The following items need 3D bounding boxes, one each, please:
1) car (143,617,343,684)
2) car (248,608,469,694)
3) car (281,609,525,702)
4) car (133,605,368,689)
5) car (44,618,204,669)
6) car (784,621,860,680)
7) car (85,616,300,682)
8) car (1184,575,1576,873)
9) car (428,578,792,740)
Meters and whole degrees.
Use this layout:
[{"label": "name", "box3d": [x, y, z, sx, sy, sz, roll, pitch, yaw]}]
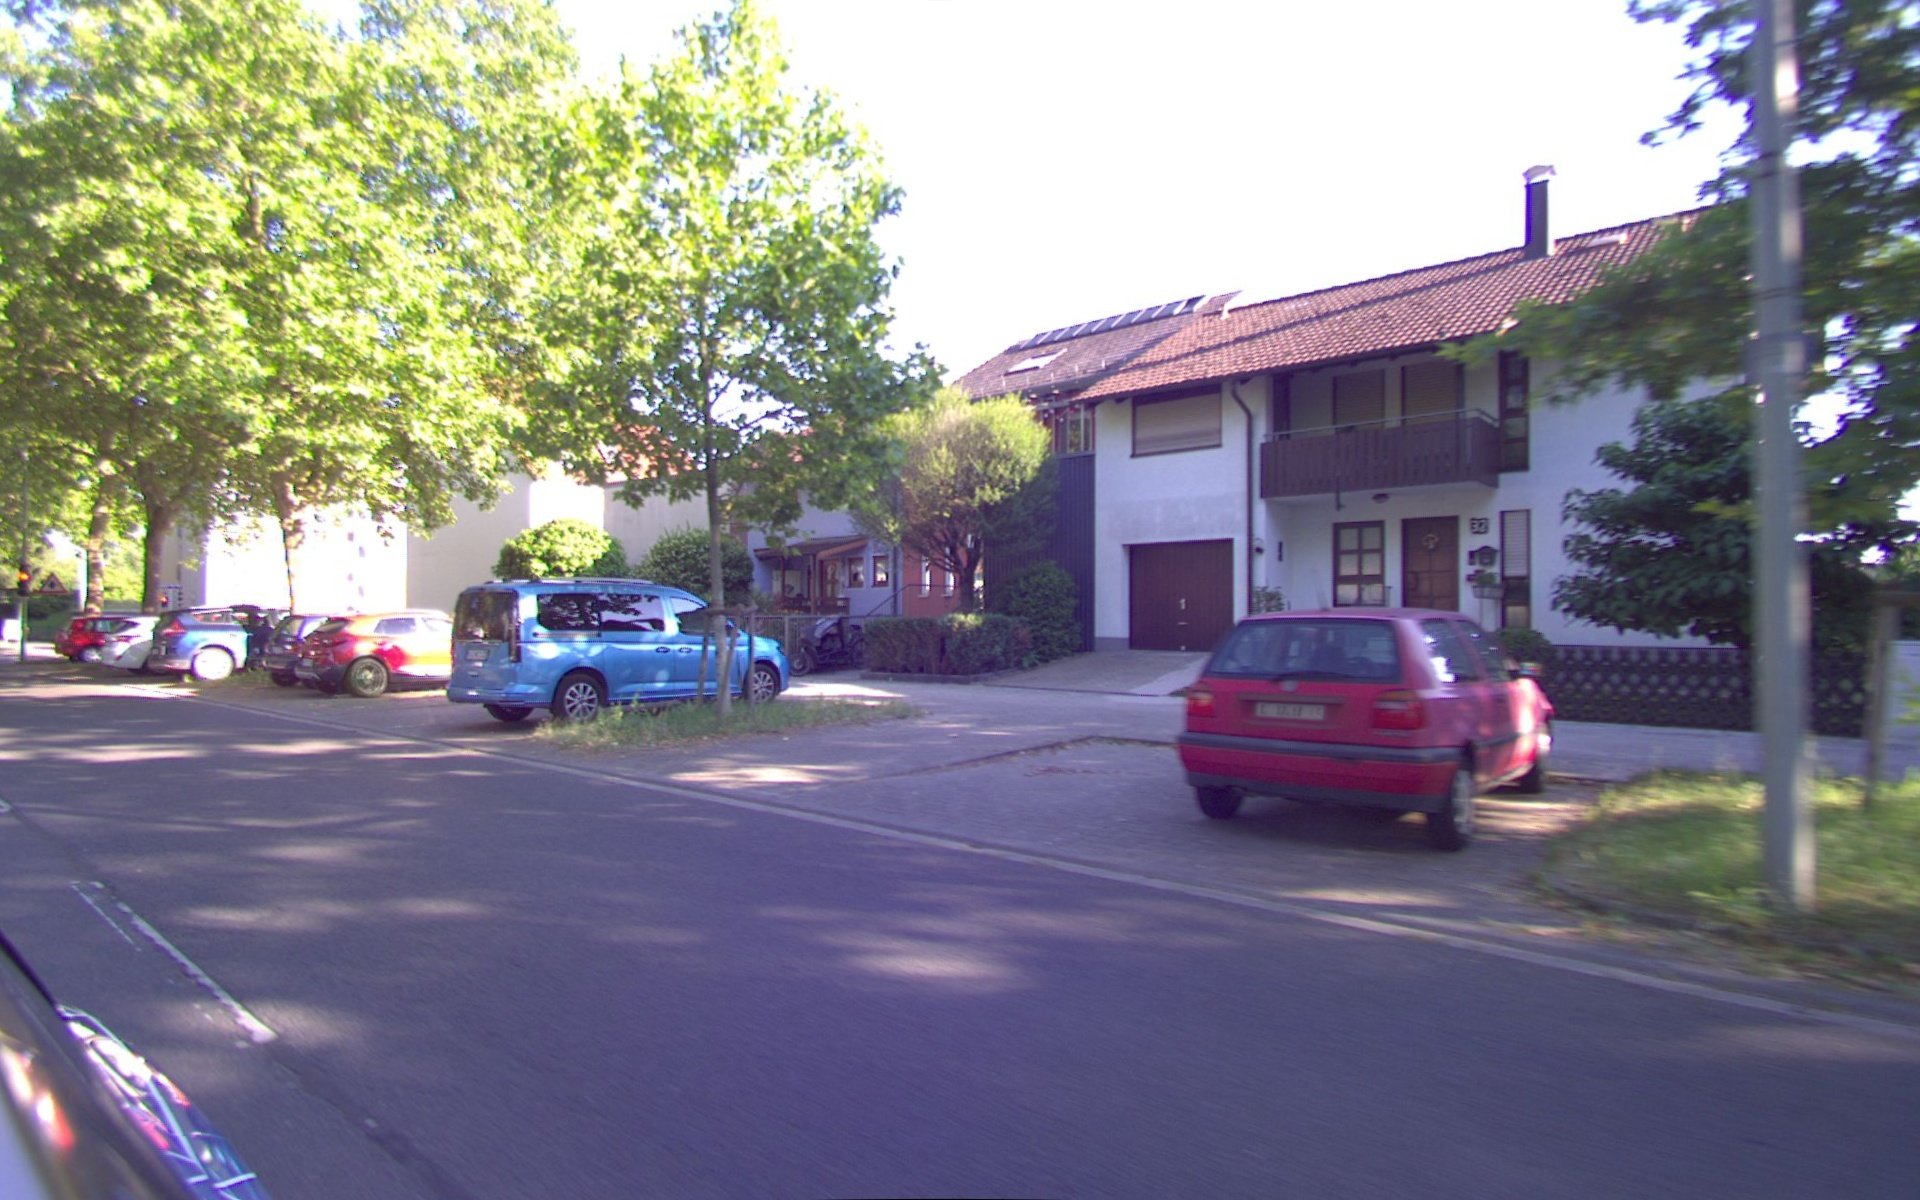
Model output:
[{"label": "car", "box3d": [-17.714, 1.197, 25.133, 1.752, 1.495, 3.722, -1, -1, 38]}, {"label": "car", "box3d": [-12.138, 0.970, 20.599, 1.723, 1.528, 3.482, -1, 0, 35]}, {"label": "car", "box3d": [-10.276, 0.957, 18.863, 1.780, 1.528, 3.606, -1, -1, 39]}, {"label": "car", "box3d": [-16.064, 0.997, 23.088, 1.829, 1.729, 4.052, -1, -1, 38]}, {"label": "car", "box3d": [-27.241, 1.370, 33.063, 1.828, 1.546, 3.730, -1, -1, 36]}, {"label": "car", "box3d": [-2.864, 1.026, 21.102, 0.699, 1.125, 1.499, -1, 0, 39]}, {"label": "car", "box3d": [-19.887, 1.212, 26.368, 1.872, 1.512, 4.123, -1, 0, 37]}, {"label": "car", "box3d": [3.201, 0.648, 7.240, 1.662, 1.530, 3.835, -1, -1, 37]}, {"label": "car", "box3d": [-4.584, 0.668, 13.839, 1.992, 1.838, 4.345, -1, 0, 37]}]
